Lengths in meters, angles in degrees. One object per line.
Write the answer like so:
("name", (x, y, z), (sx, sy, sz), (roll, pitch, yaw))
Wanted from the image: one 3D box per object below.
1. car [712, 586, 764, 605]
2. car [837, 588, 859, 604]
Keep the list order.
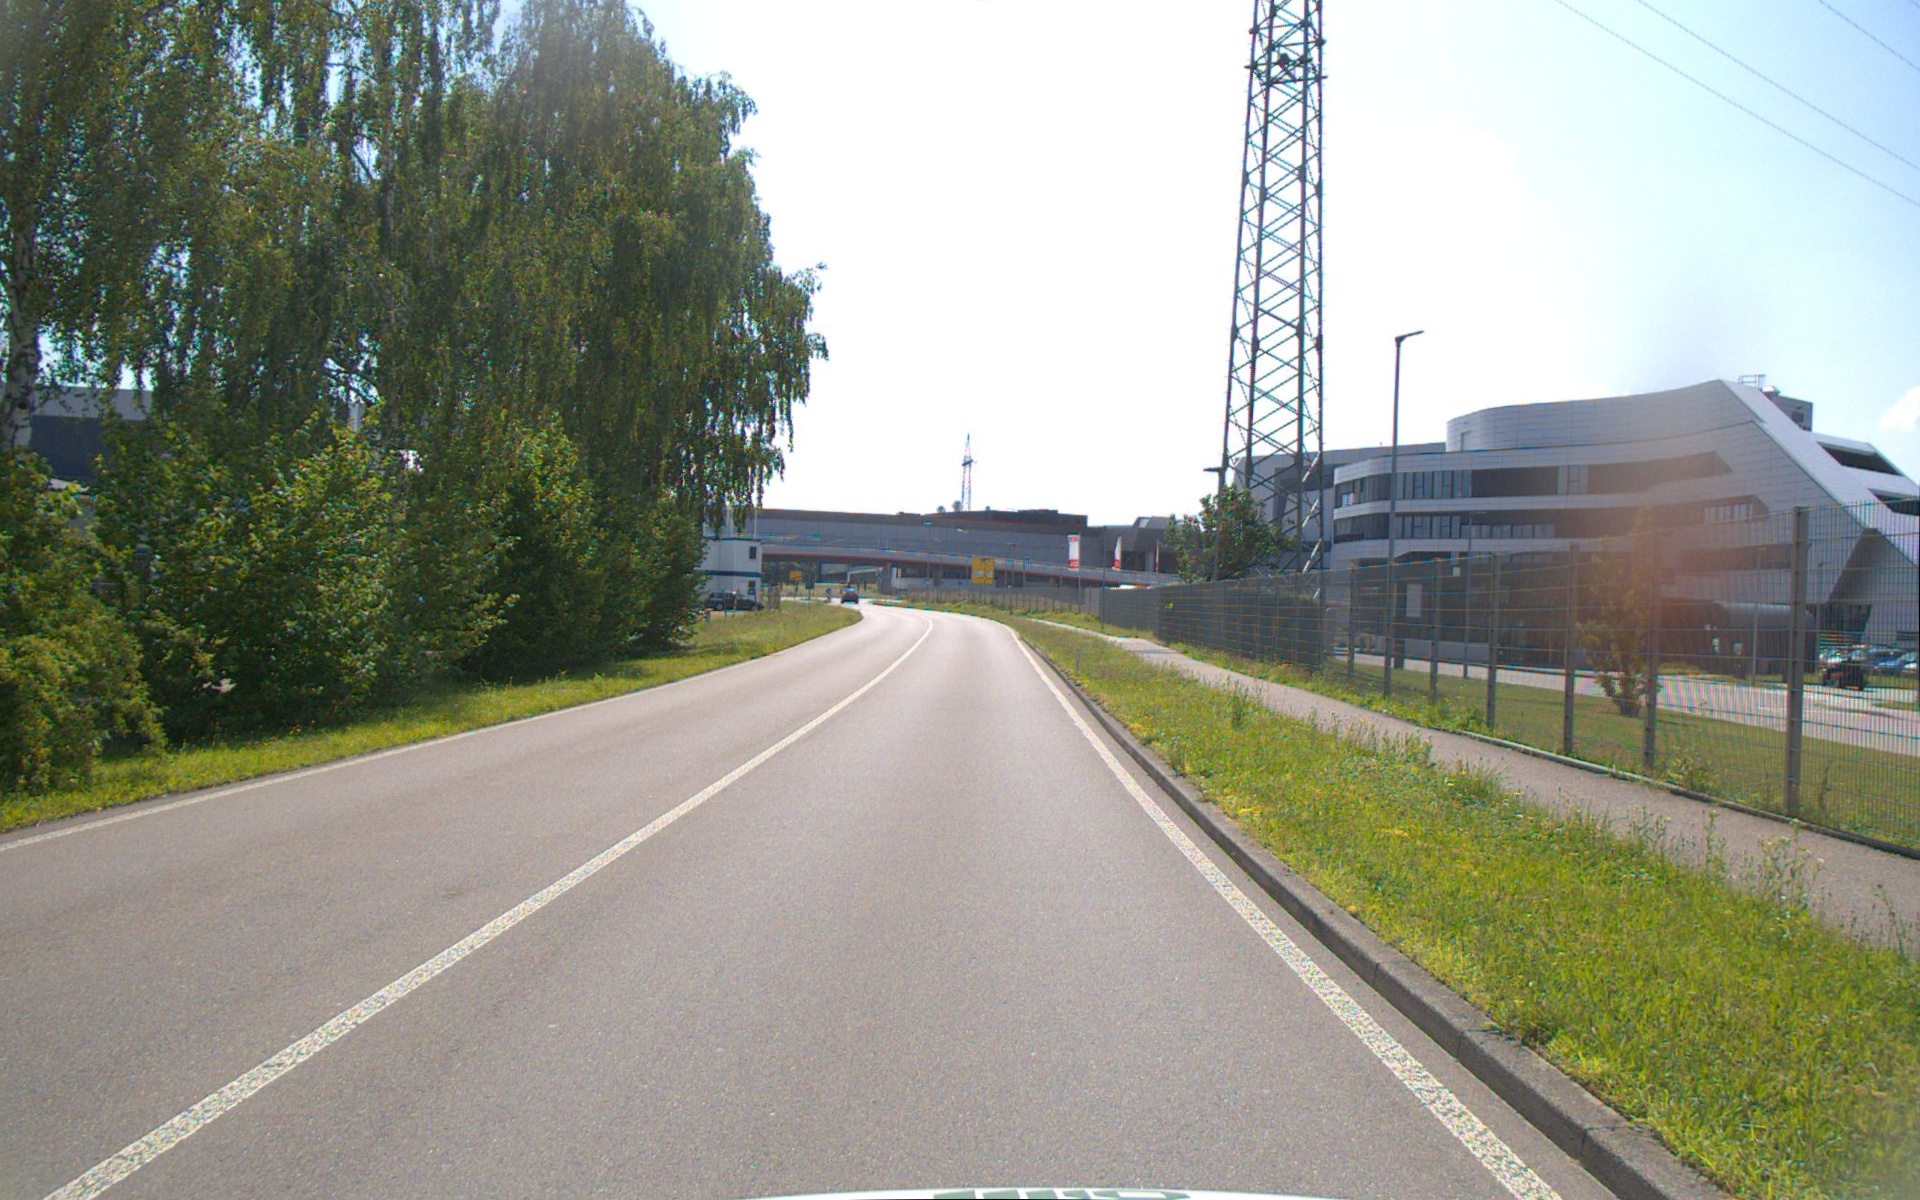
("car", (-17.393, -0.360, 129.429), (3.650, 1.312, 1.691), (3, 0, -30))
("car", (-11.815, -0.442, 174.719), (1.974, 1.534, 3.993), (3, 0, -8))
